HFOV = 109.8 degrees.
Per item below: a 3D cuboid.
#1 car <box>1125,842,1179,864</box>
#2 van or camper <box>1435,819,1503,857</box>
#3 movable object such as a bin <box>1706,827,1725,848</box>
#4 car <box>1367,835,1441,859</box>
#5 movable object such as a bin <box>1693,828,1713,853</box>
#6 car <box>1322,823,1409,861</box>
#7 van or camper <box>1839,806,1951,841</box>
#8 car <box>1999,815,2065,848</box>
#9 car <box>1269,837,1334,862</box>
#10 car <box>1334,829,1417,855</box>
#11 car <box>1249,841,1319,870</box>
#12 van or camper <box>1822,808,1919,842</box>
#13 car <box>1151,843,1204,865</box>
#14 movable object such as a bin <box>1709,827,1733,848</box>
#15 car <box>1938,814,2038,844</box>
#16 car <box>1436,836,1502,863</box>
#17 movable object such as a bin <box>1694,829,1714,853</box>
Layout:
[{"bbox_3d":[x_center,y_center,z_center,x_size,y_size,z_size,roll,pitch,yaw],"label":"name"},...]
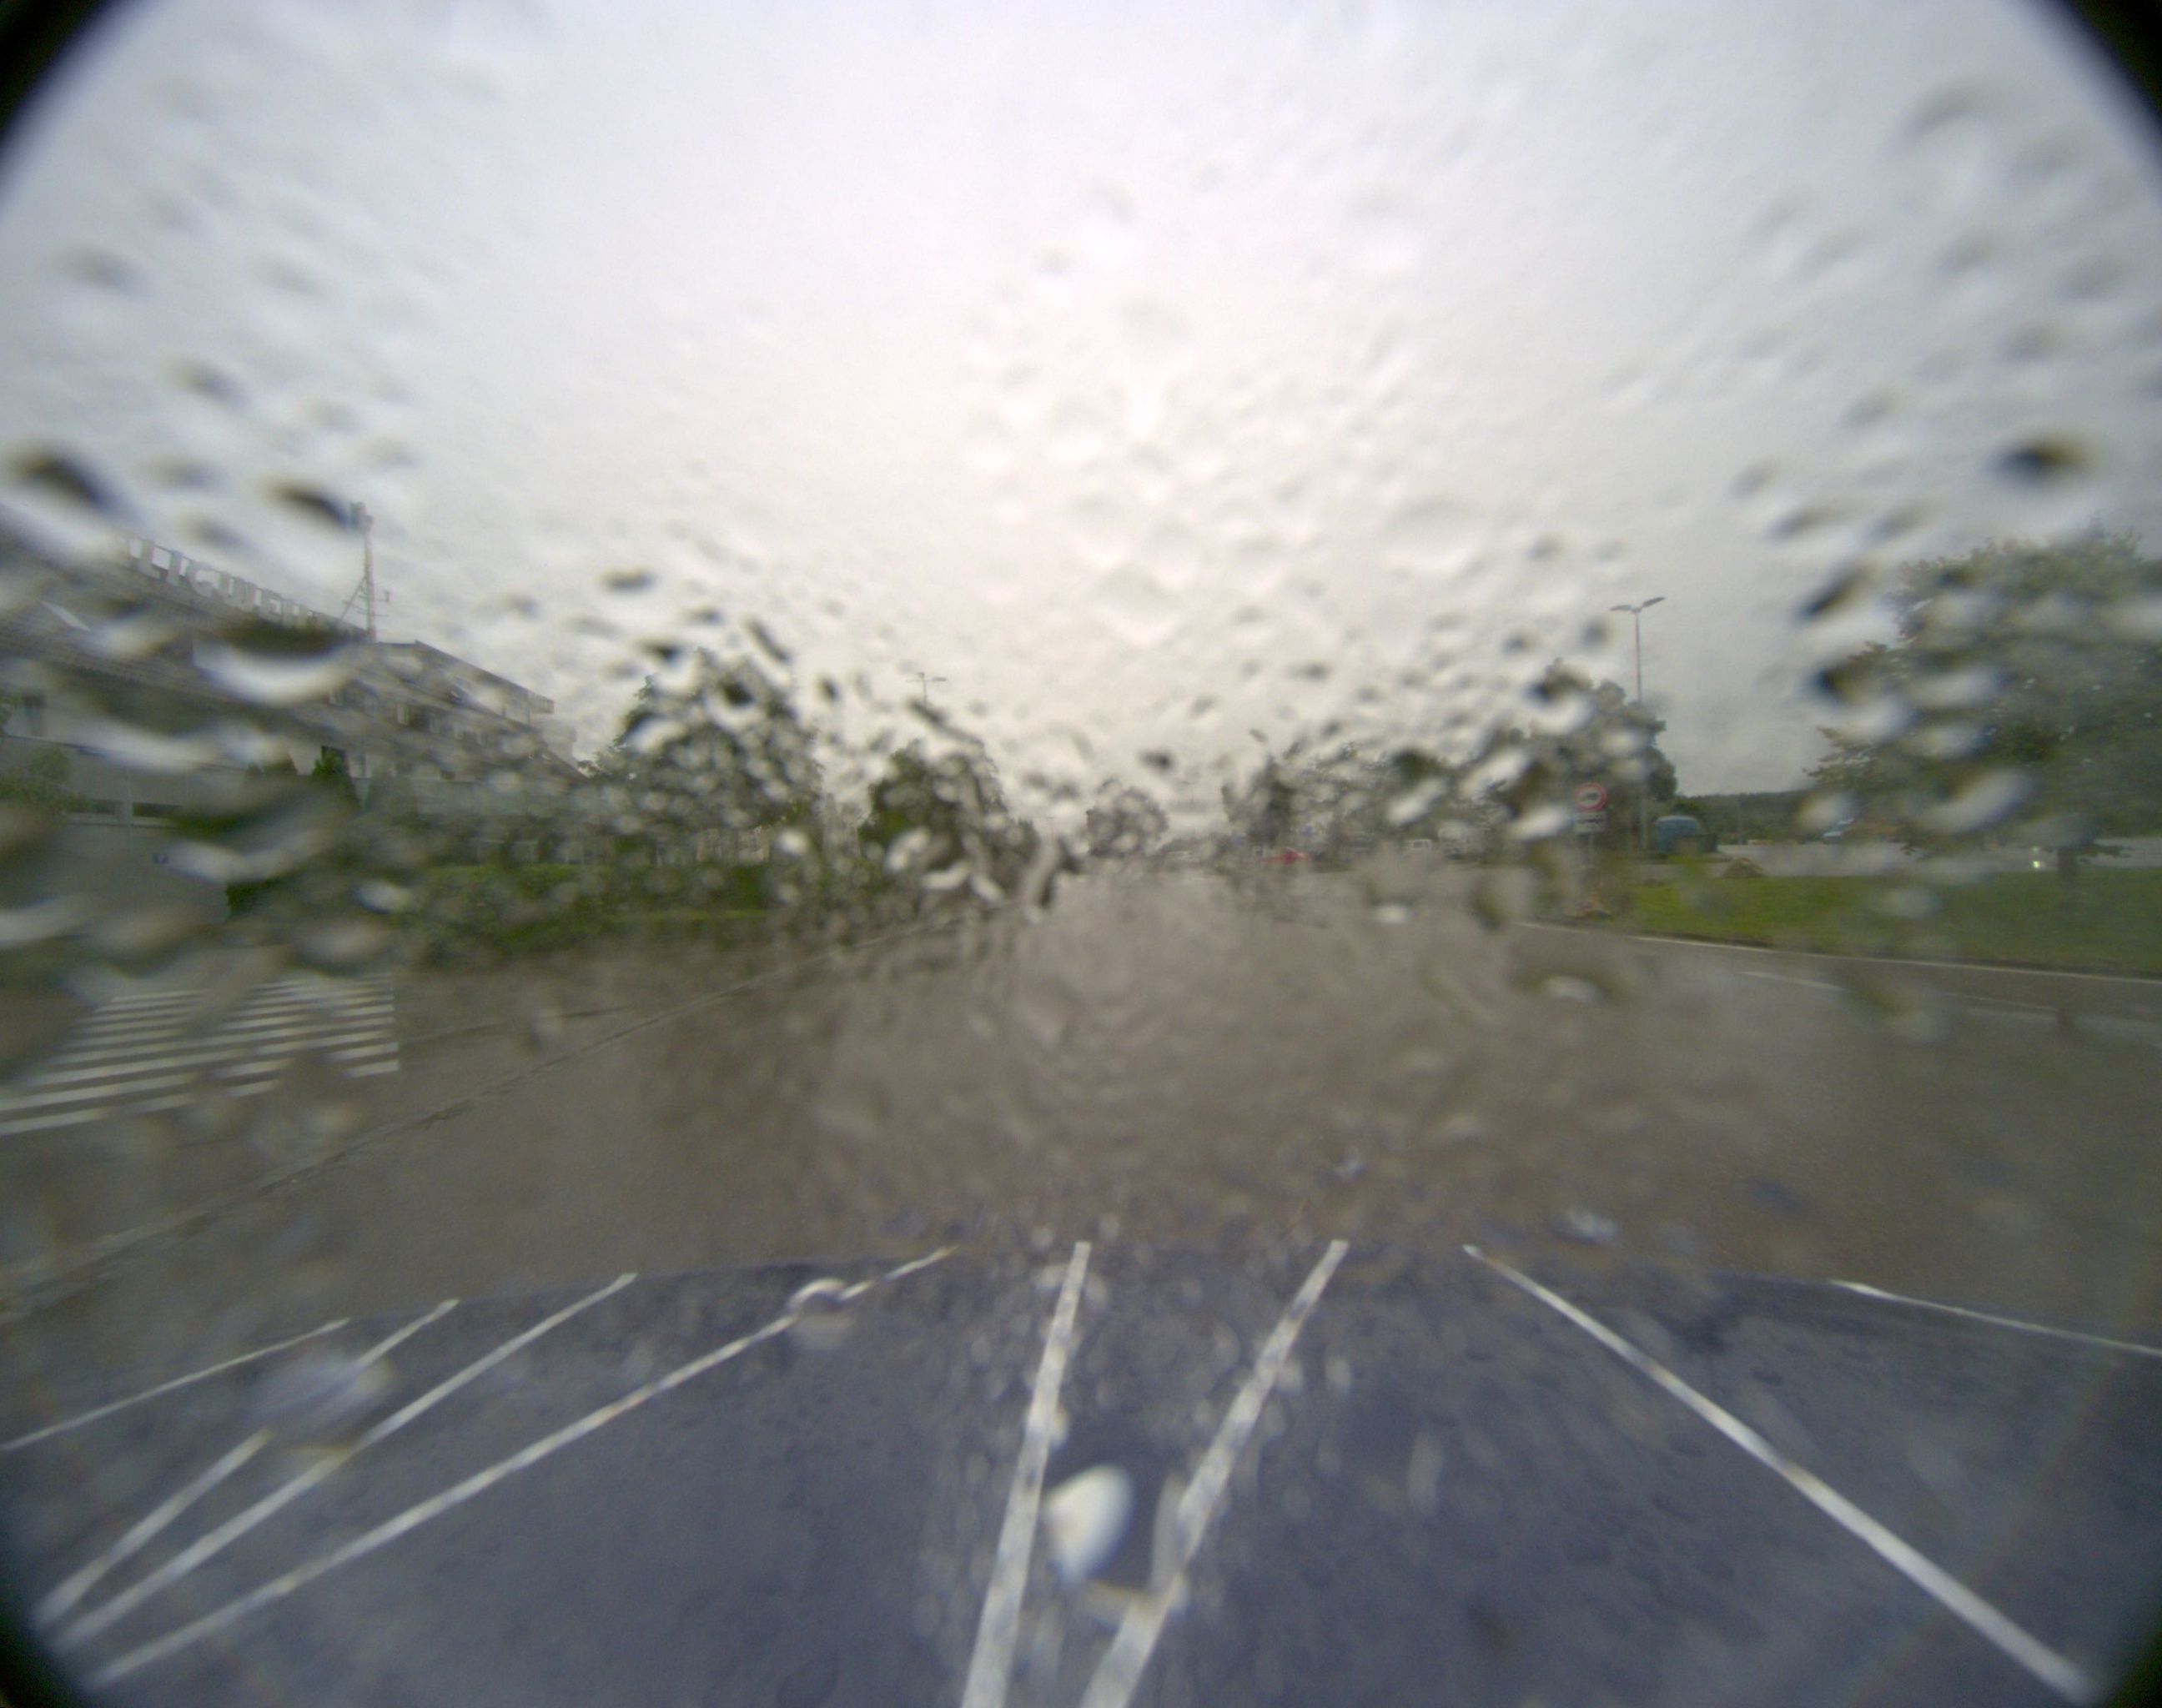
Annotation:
[{"bbox_3d":[5.879,-0.057,63.130,4.037,1.683,1.803,-2,2,40],"label":"car"},{"bbox_3d":[23.346,-1.004,45.610,2.188,1.935,5.205,0,4,44],"label":"van or camper"},{"bbox_3d":[28.008,-0.715,33.543,0.416,0.915,0.494,-2,1,-20],"label":"movable object such as a bin"},{"bbox_3d":[24.378,-0.522,57.382,4.755,1.578,2.004,-2,1,39],"label":"car"},{"bbox_3d":[23.530,-0.494,28.733,0.489,0.933,0.449,-3,2,-31],"label":"movable object such as a bin"},{"bbox_3d":[18.052,-0.724,48.327,4.755,2.176,2.004,-2,2,39],"label":"car"},{"bbox_3d":[58.149,-2.156,54.325,6.417,2.234,2.133,-2,1,-7],"label":"van or camper"},{"bbox_3d":[44.453,-1.065,35.574,4.086,1.425,1.775,-3,1,-41],"label":"car"},{"bbox_3d":[17.240,-0.341,59.437,4.389,1.768,1.929,-2,1,36],"label":"car"},{"bbox_3d":[19.542,-0.778,50.510,4.755,1.464,1.889,-2,1,39],"label":"car"},{"bbox_3d":[14.591,0.121,54.741,4.389,1.874,1.929,-2,1,36],"label":"car"},{"bbox_3d":[69.186,-2.551,66.622,7.067,2.701,1.998,-2,3,-7],"label":"van or camper"},{"bbox_3d":[8.244,-0.002,64.923,4.038,1.683,1.716,-2,1,31],"label":"car"},{"bbox_3d":[28.700,-0.740,34.058,0.557,0.915,0.629,-2,1,-20],"label":"movable object such as a bin"},{"bbox_3d":[51.185,-1.372,42.902,4.055,1.547,1.549,-2,1,-4],"label":"car"},{"bbox_3d":[33.921,-0.380,66.432,4.755,2.069,2.004,-2,2,39],"label":"car"},{"bbox_3d":[23.910,-0.500,29.141,0.489,0.912,0.449,-3,2,-31],"label":"movable object such as a bin"}]
